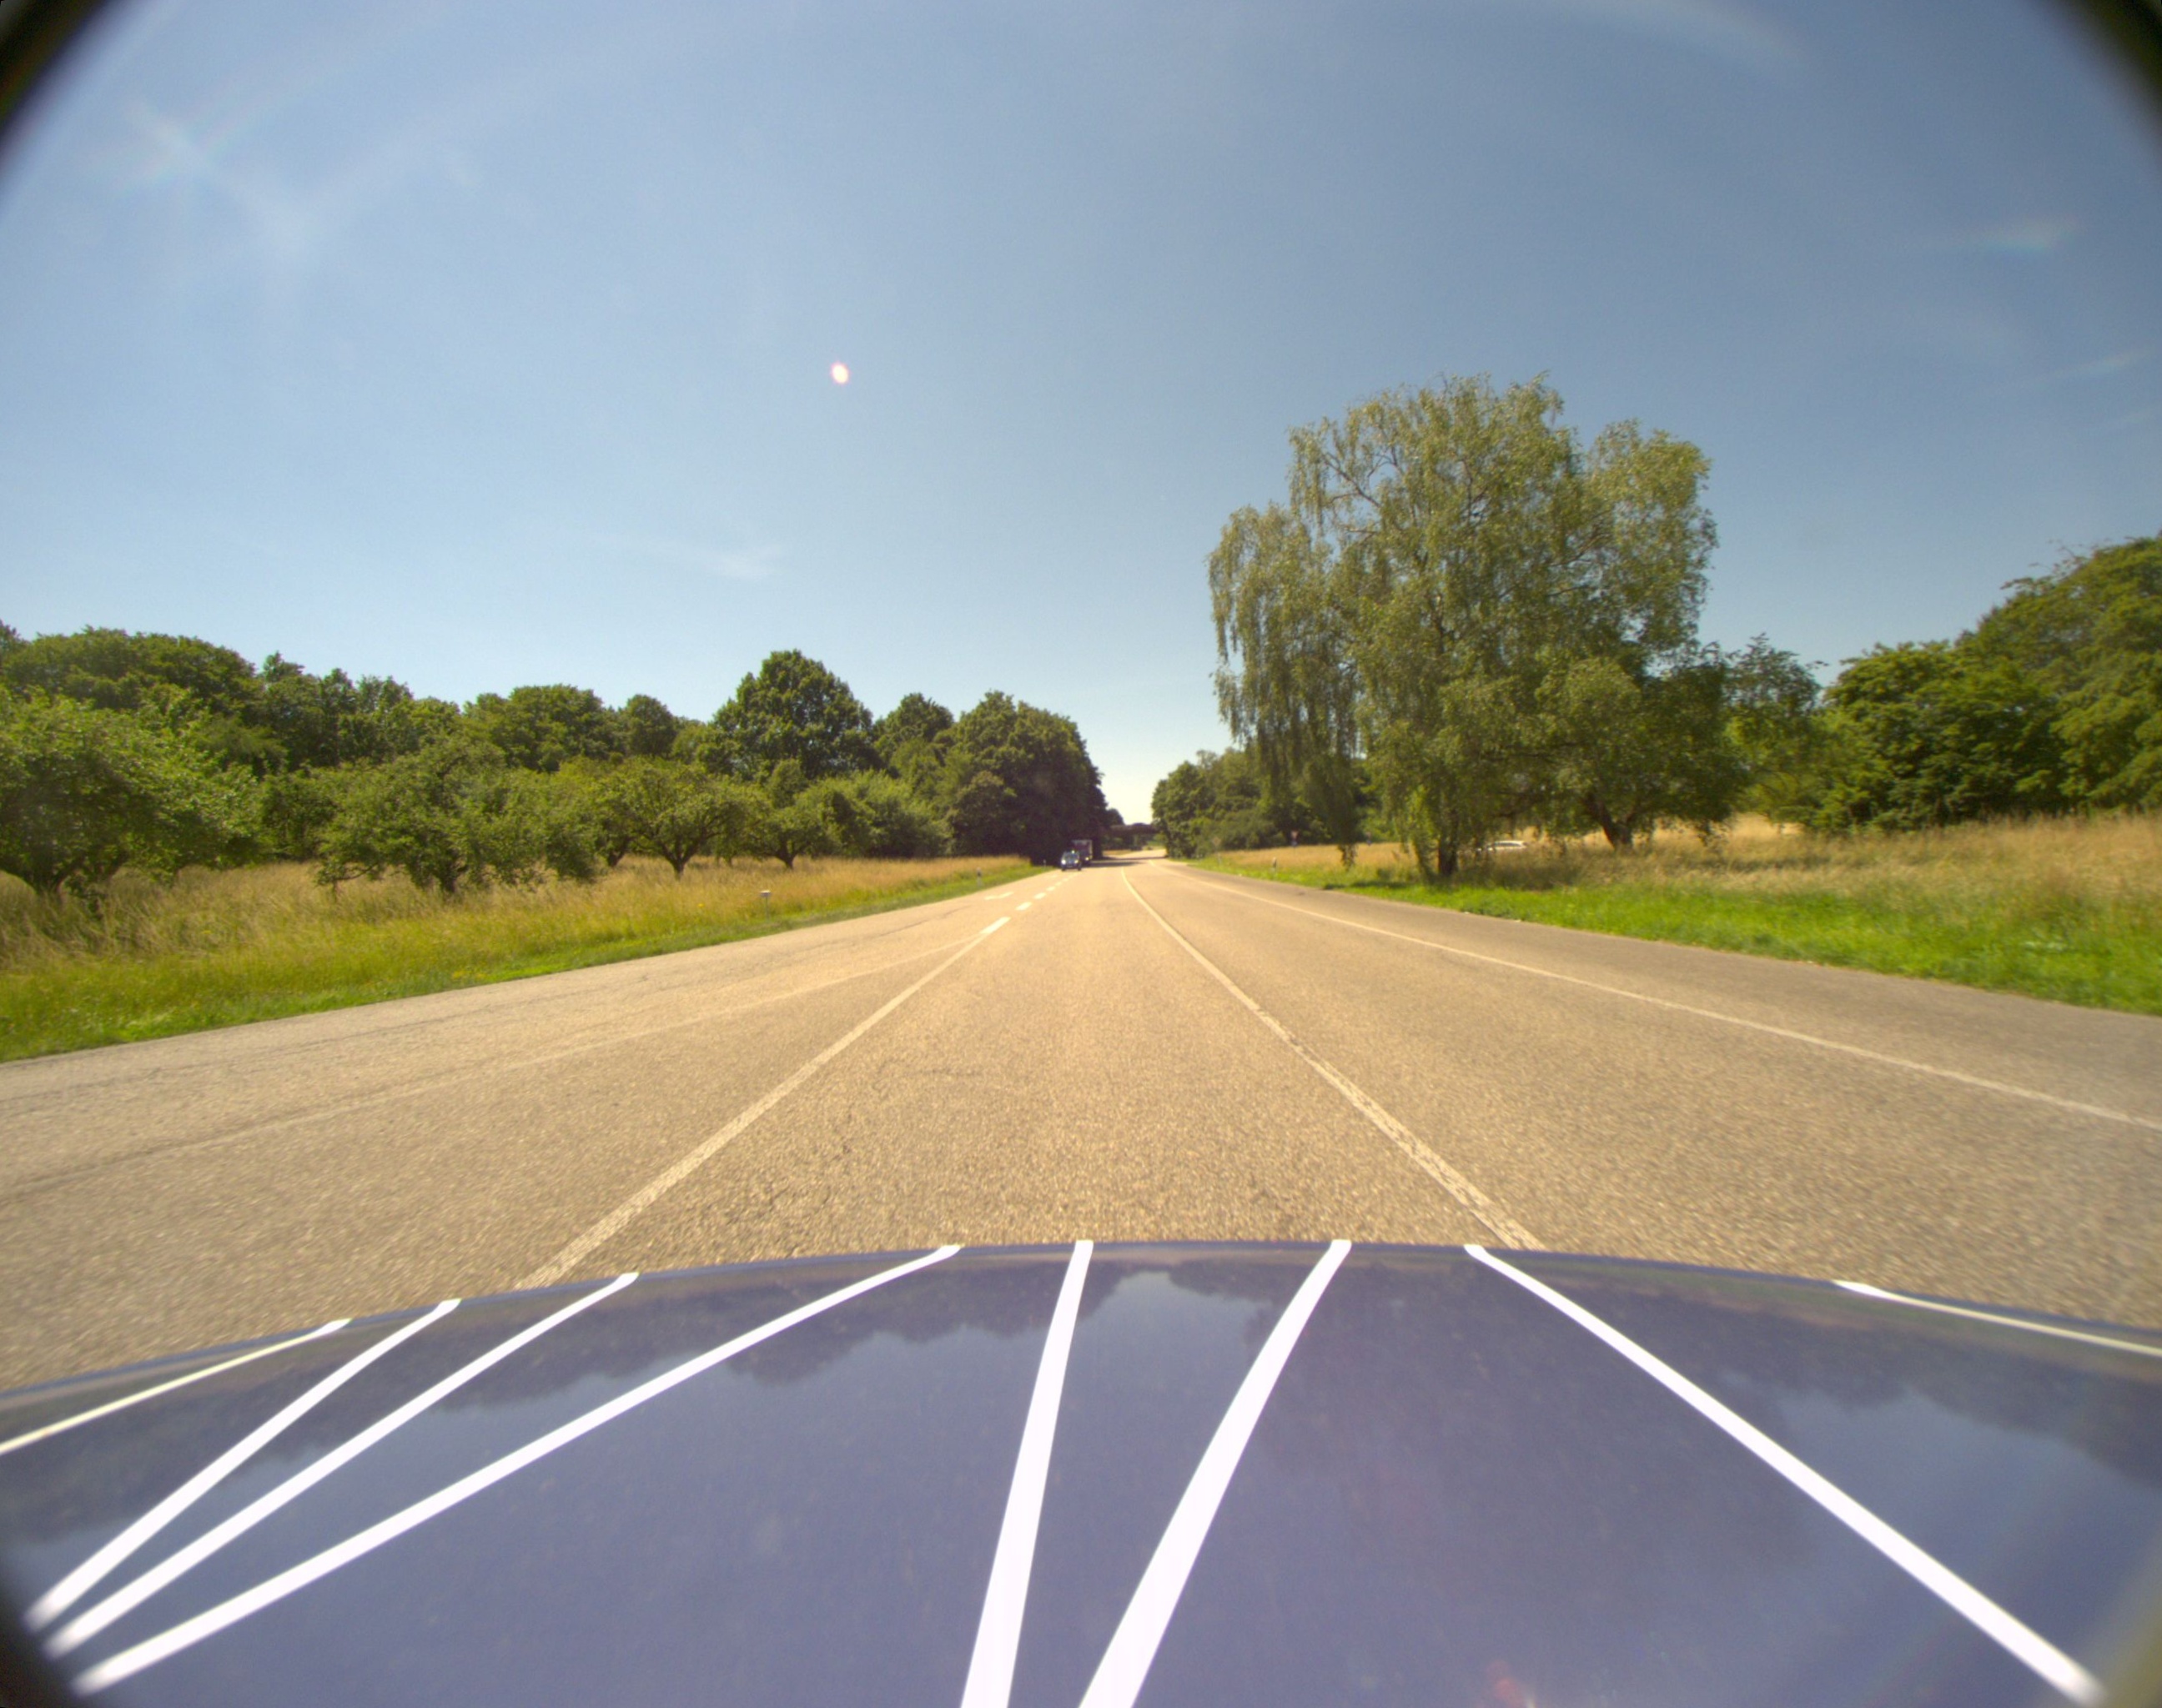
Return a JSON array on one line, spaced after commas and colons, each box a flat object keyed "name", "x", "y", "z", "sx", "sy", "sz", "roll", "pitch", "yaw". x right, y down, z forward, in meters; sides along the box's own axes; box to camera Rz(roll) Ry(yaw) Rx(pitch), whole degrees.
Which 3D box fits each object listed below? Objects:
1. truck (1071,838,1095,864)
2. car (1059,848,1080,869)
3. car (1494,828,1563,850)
[{"name": "truck", "x": 0.288, "y": -0.373, "z": 90.852, "sx": 2.457, "sy": 2.927, "sz": 6.974, "roll": -2, "pitch": 1, "yaw": 3}, {"name": "car", "x": -1.027, "y": 0.408, "z": 70.135, "sx": 1.746, "sy": 1.833, "sz": 4.000, "roll": -2, "pitch": 0, "yaw": 2}, {"name": "car", "x": 32.237, "y": -1.097, "z": 54.775, "sx": 3.989, "sy": 1.458, "sz": 1.667, "roll": -1, "pitch": 1, "yaw": 45}]
